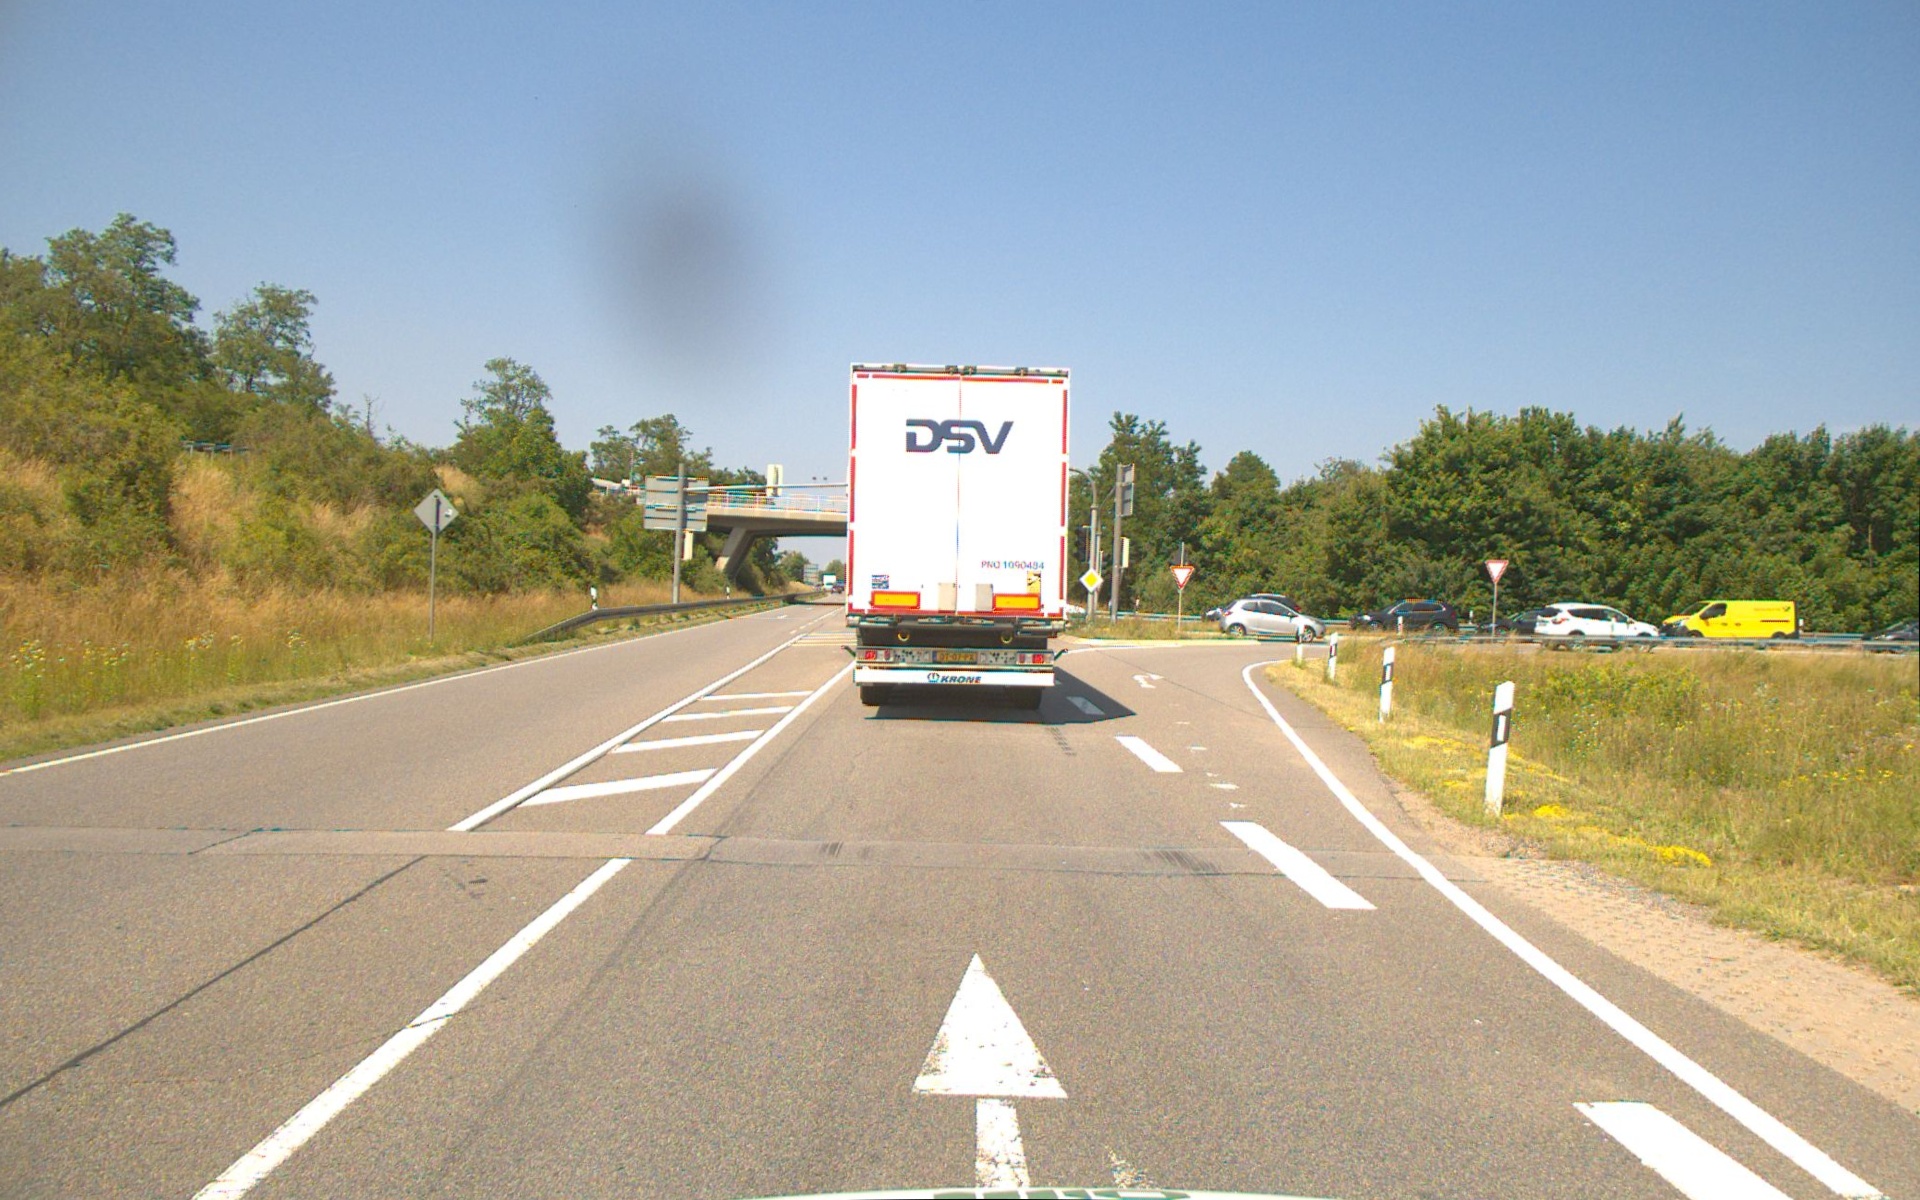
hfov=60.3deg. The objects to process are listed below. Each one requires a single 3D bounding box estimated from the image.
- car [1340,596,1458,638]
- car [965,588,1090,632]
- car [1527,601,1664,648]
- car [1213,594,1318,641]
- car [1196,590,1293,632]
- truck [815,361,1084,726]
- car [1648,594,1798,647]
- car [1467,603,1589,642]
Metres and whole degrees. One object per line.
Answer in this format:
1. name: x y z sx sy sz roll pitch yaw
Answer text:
1. car: 18.059 0.703 68.196 4.393 1.626 1.768 1 0 2
2. car: 2.505 0.373 61.310 4.373 1.594 1.741 0 0 15
3. car: 22.985 0.881 59.887 4.387 1.594 1.735 1 0 -10
4. car: 10.950 0.617 59.500 3.603 1.594 1.740 1 0 7
5. car: 12.033 0.459 70.200 3.901 1.668 1.842 1 0 5
6. truck: -0.185 -0.632 23.419 2.927 4.011 9.873 1 0 -1
7. car: 31.267 0.837 67.863 5.213 2.049 2.000 1 0 1
8. car: 23.868 0.942 69.621 4.583 1.540 1.854 1 0 7
